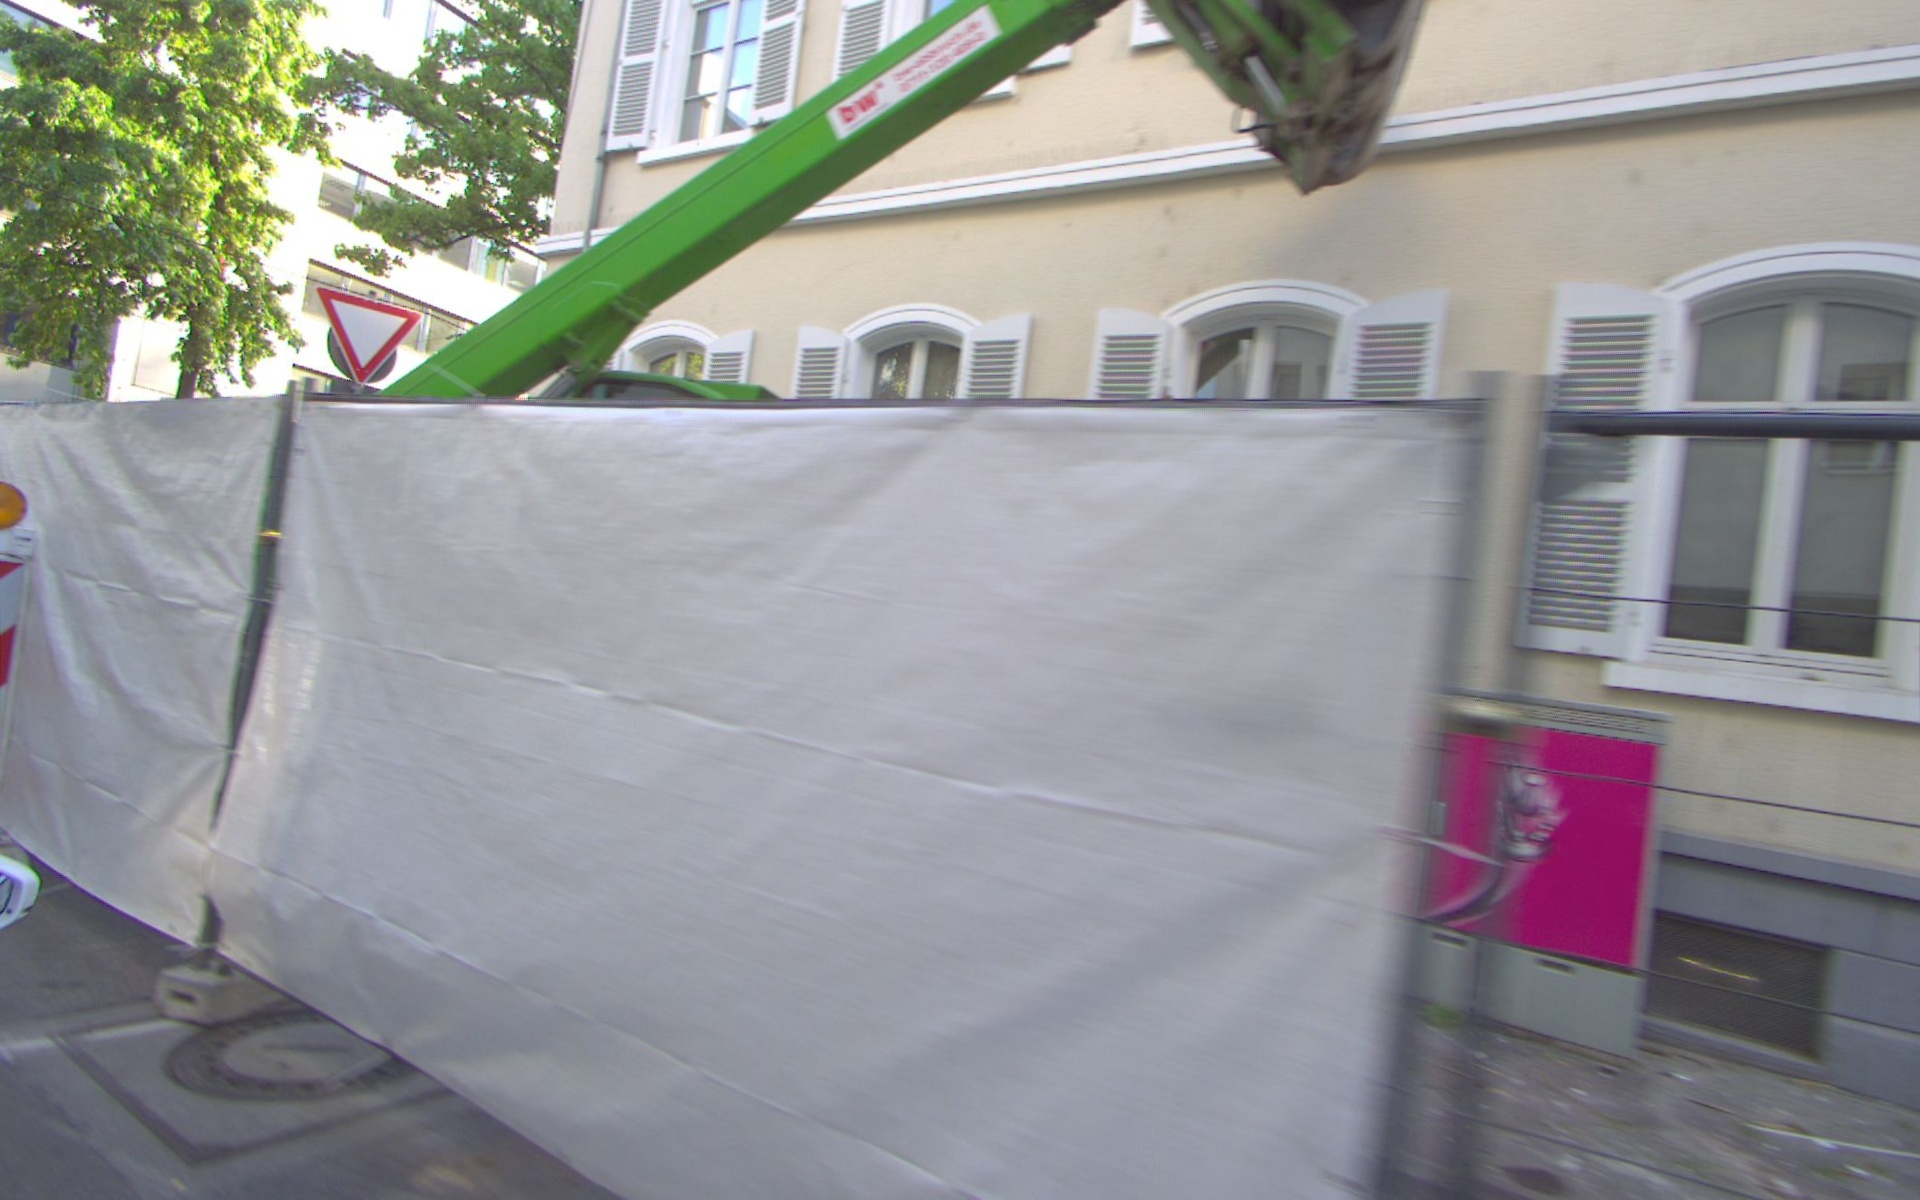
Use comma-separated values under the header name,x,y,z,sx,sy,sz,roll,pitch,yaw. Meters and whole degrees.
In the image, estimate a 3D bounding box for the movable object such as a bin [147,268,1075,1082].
name,x,y,z,sx,sy,sz,roll,pitch,yaw
movable object such as a bin,-2.027,0.169,5.800,4.376,2.872,2.609,7,-1,32
